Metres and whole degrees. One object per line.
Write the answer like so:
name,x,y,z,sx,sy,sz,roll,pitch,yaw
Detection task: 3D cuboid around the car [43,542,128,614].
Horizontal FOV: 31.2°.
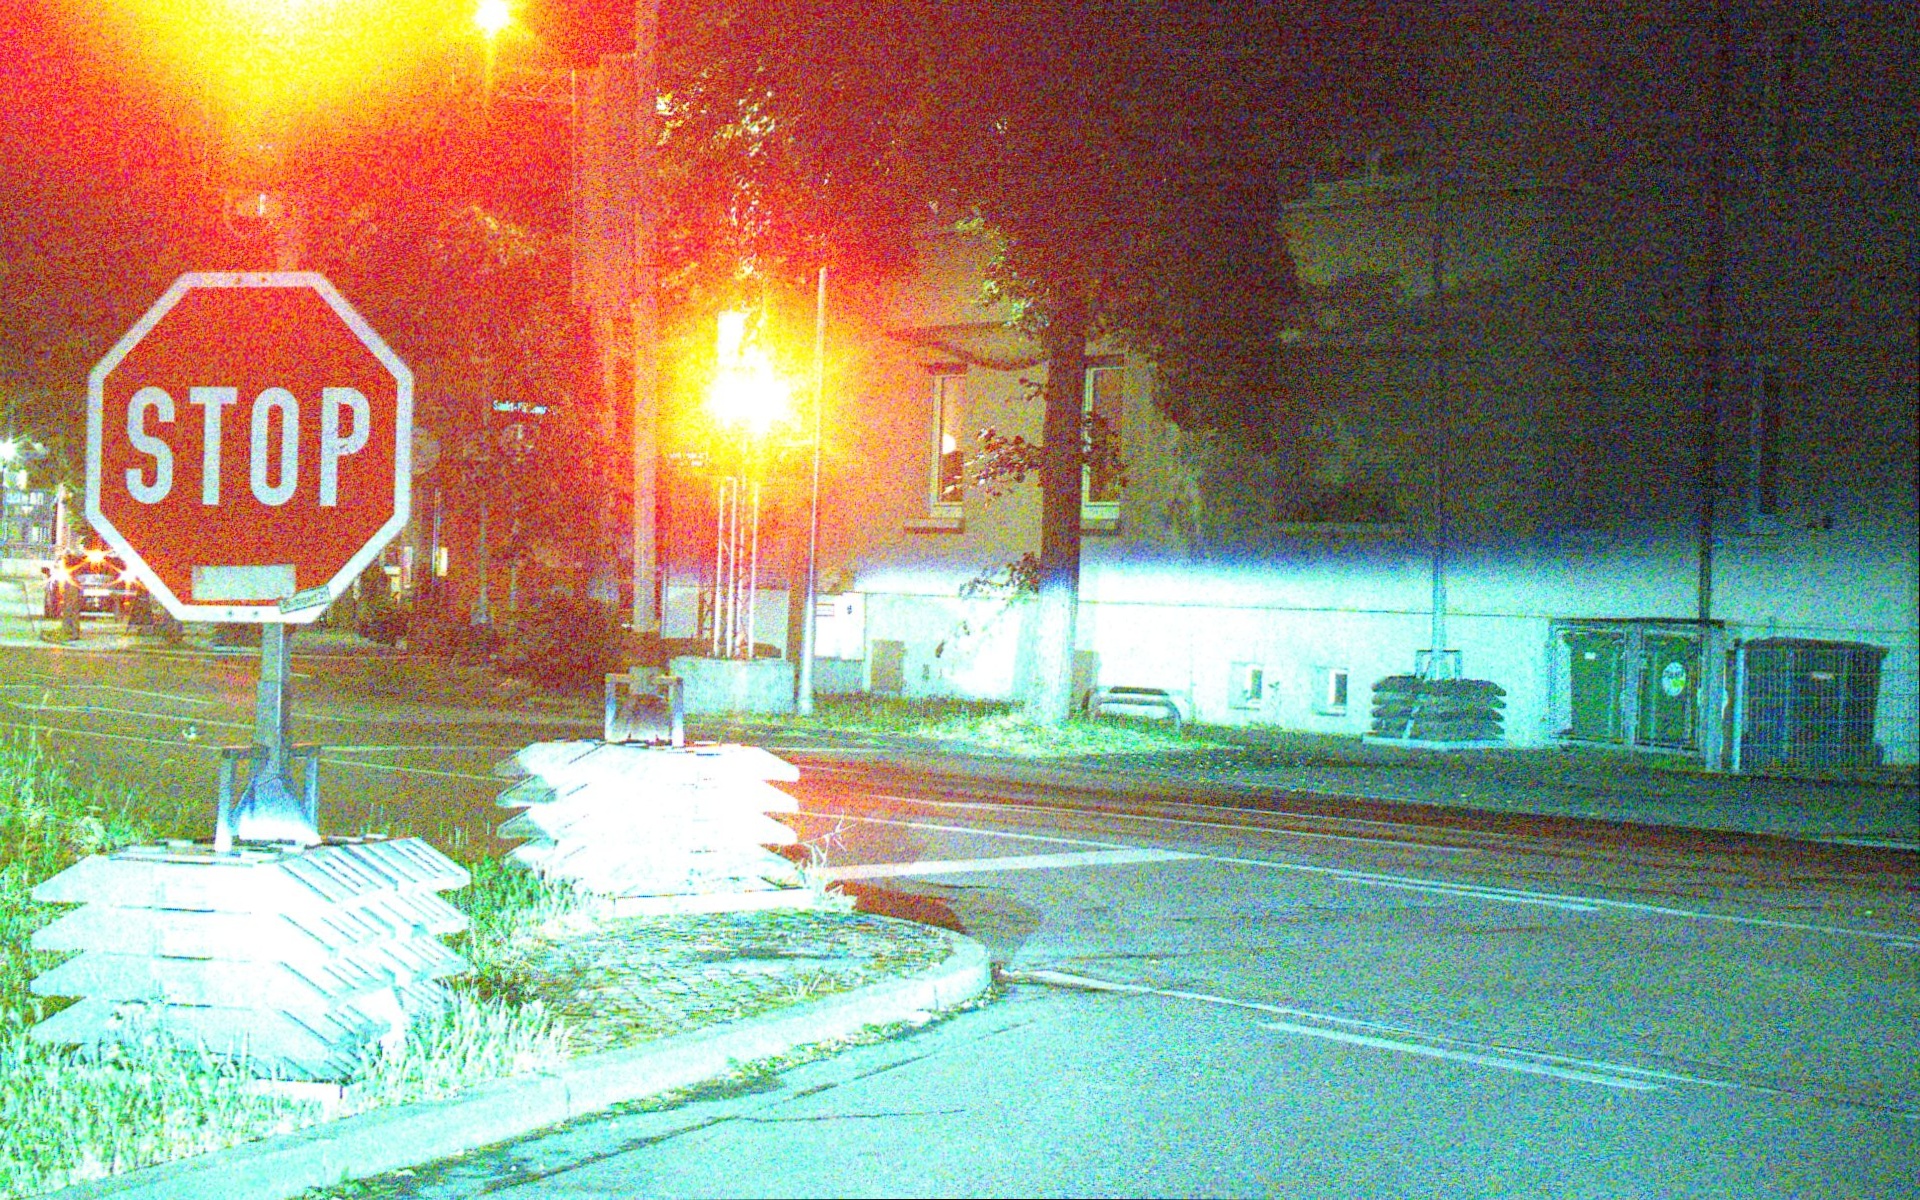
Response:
car,-18.272,-0.480,71.891,1.651,1.426,4.001,2,1,-14
